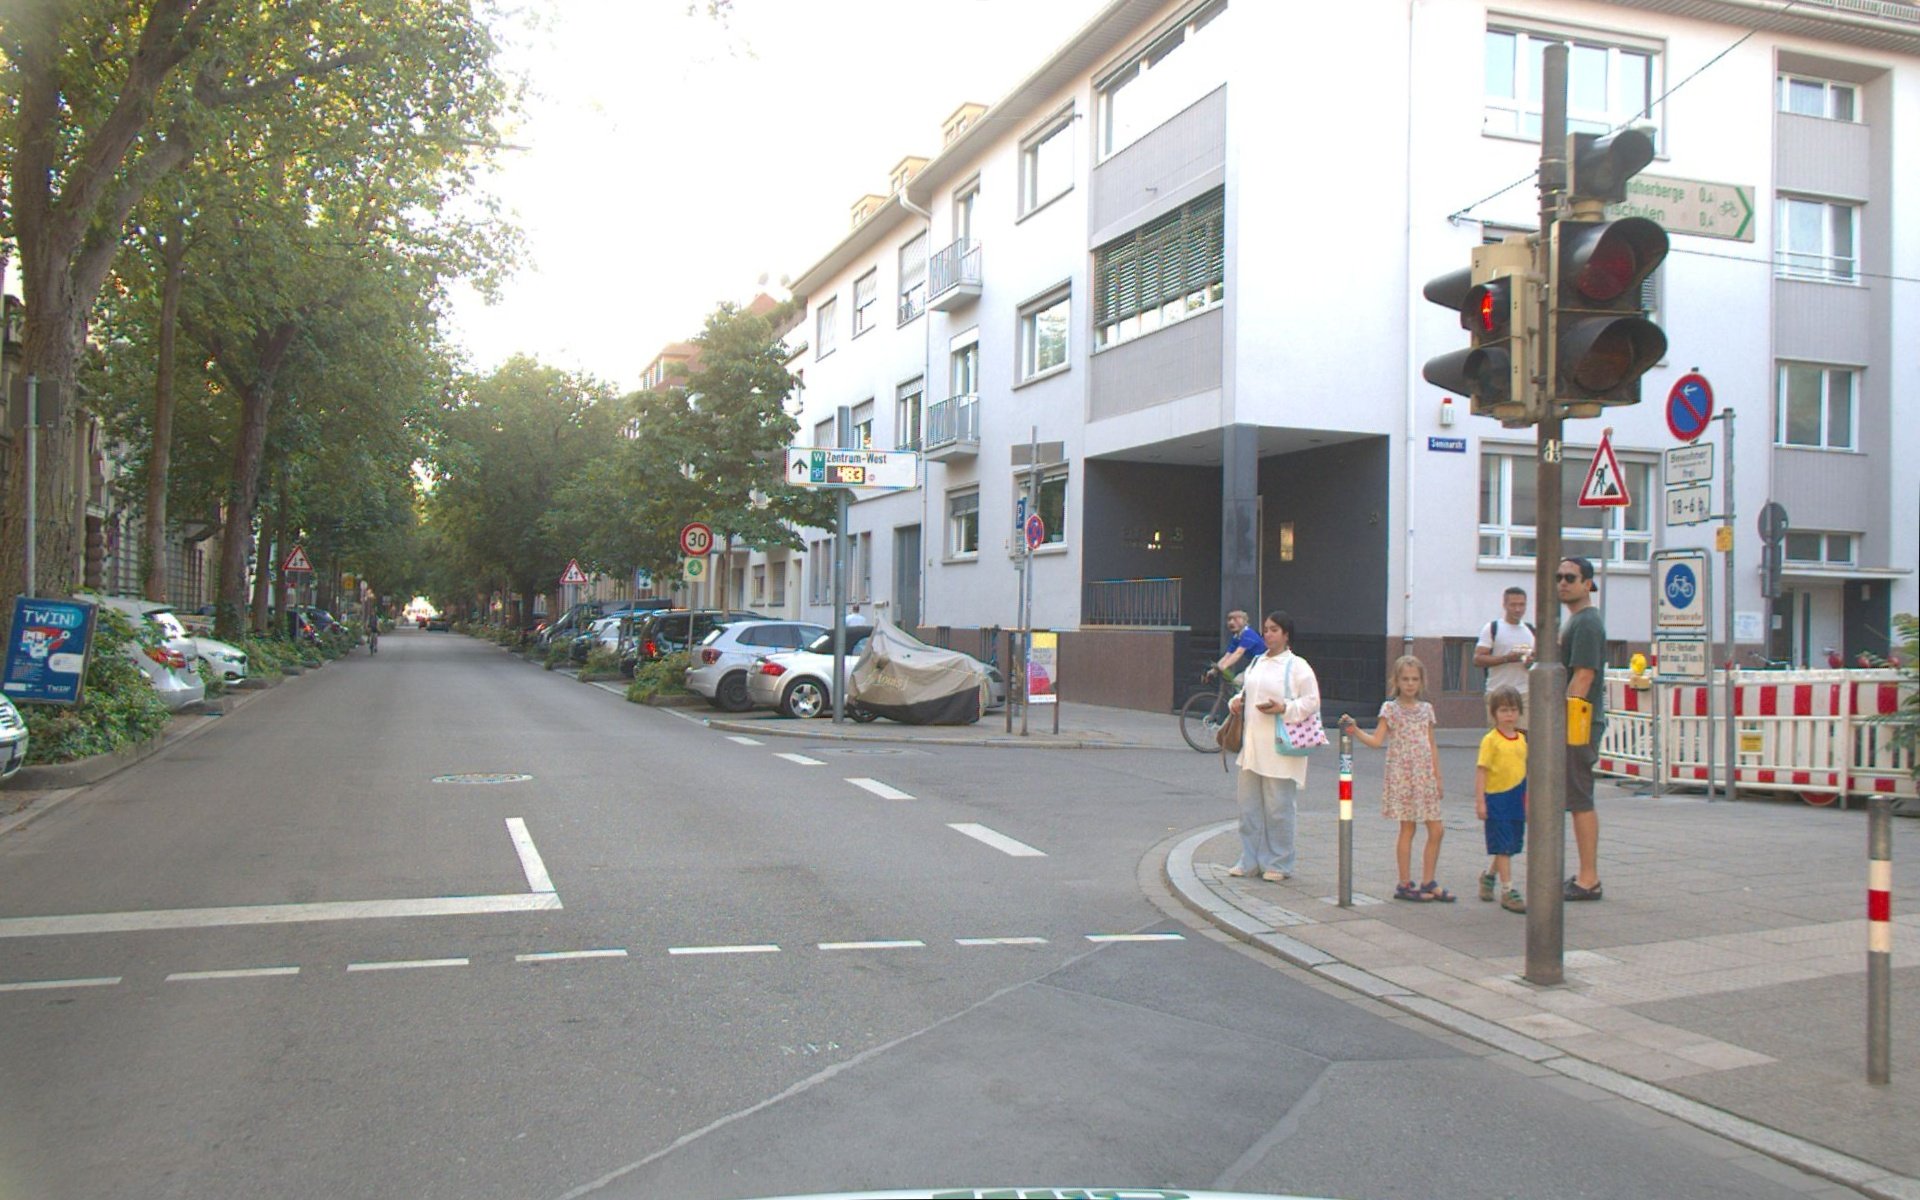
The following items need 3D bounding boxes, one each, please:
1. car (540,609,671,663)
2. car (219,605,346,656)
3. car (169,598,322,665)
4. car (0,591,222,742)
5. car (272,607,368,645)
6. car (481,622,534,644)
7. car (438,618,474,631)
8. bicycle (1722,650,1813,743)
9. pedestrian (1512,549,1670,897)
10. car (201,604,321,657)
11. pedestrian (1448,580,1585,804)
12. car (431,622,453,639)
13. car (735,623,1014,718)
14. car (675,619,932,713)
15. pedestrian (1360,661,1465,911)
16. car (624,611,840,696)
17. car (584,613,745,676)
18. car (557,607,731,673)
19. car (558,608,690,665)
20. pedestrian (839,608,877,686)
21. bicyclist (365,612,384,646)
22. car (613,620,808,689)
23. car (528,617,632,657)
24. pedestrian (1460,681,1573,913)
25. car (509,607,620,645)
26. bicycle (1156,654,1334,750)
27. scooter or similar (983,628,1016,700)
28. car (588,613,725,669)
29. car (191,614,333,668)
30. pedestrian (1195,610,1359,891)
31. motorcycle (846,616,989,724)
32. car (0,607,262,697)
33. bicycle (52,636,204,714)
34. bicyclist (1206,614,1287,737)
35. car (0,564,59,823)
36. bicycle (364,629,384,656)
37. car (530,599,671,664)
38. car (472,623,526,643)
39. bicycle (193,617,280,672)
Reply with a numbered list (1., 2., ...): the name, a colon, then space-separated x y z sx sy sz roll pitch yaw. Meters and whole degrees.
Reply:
1. car: -12.036 1.200 56.132 4.095 1.606 1.958 -2 0 -21
2. car: -24.936 1.123 61.017 4.137 1.701 1.897 3 -1 -19
3. car: -21.203 0.949 49.248 3.905 1.624 1.771 6 -3 -19
4. car: -10.600 0.711 18.362 4.103 1.584 1.818 2 -1 -17
5. car: -32.444 1.321 83.937 4.357 1.680 1.863 3 -1 -18
6. car: -31.398 2.250 114.772 3.433 1.478 1.887 0 -1 -21
7. car: -63.267 3.036 207.567 4.204 1.593 1.952 -1 -1 -19
8. bicycle: 11.462 1.343 23.459 1.779 1.261 0.525 2 -1 -41
9. pedestrian: 3.407 0.639 8.958 0.534 1.806 0.573 -1 -1 -17
10. car: -24.714 1.086 58.631 3.745 1.701 1.704 3 -1 -20
11. pedestrian: 4.877 0.778 14.544 0.685 1.887 1.046 0 -1 -14
12. car: -49.483 2.900 158.009 1.926 1.593 4.259 -1 -1 -18
13. car: -1.315 1.050 24.995 3.922 1.356 1.786 1 -1 -16
14. car: -2.597 1.074 27.301 3.925 1.463 1.785 1 -1 -19
15. pedestrian: 2.411 0.978 8.848 0.478 1.284 0.452 -1 -1 10
16. car: -4.613 1.078 33.359 4.046 1.646 1.950 1 -1 -18
17. car: -7.876 1.161 44.008 4.010 1.454 1.809 -2 0 -17
18. car: -8.859 1.093 46.385 4.523 1.606 1.933 -2 0 -20
19. car: -10.804 1.152 53.213 3.907 1.606 1.840 -2 0 -20
20. pedestrian: -2.433 1.110 39.420 0.686 1.827 0.876 1 -1 -18
21. bicyclist: -22.251 1.098 62.851 0.662 1.286 0.644 1 -1 -19
22. car: -5.838 1.247 38.632 4.251 1.522 1.783 0 -1 -20
23. car: -15.643 1.513 67.983 3.929 1.463 1.915 -2 0 -21
24. pedestrian: 2.950 1.025 8.801 0.532 1.165 0.493 -1 -1 17
25. car: -16.768 1.091 70.116 4.338 1.418 1.874 -2 0 -21
26. bicycle: 3.328 1.188 19.364 1.932 1.048 0.673 2 -3 -6
27. scooter or similar: 0.714 1.152 30.219 0.339 1.261 1.418 1 -1 -9
28. car: -9.004 1.199 48.958 3.737 1.448 1.687 -2 0 -20
29. car: -22.011 1.288 52.304 3.904 1.411 1.756 5 -2 -18
30. pedestrian: 1.838 0.838 9.585 0.708 1.538 0.596 -2 -1 42
31. motorcycle: -0.589 0.931 22.264 1.870 1.417 0.998 0 -1 -6
32. car: -14.336 0.879 27.937 4.441 1.415 1.907 2 -2 -17
33. bicycle: -11.524 1.036 22.957 1.766 1.027 0.595 2 -2 -19
34. bicyclist: 3.344 0.885 19.372 0.759 1.387 0.673 2 -3 -5
35. car: -8.759 0.517 11.173 4.361 1.752 1.879 4 -2 -21
36. bicycle: -22.259 1.613 62.841 0.662 1.011 1.749 1 -1 -18
37. car: -12.710 1.104 58.475 4.620 2.046 2.026 -2 0 -20
38. car: -35.412 2.526 126.944 3.822 1.465 1.835 0 -1 -22
39. bicycle: -16.876 1.047 38.616 1.741 1.254 0.498 2 -3 -14
